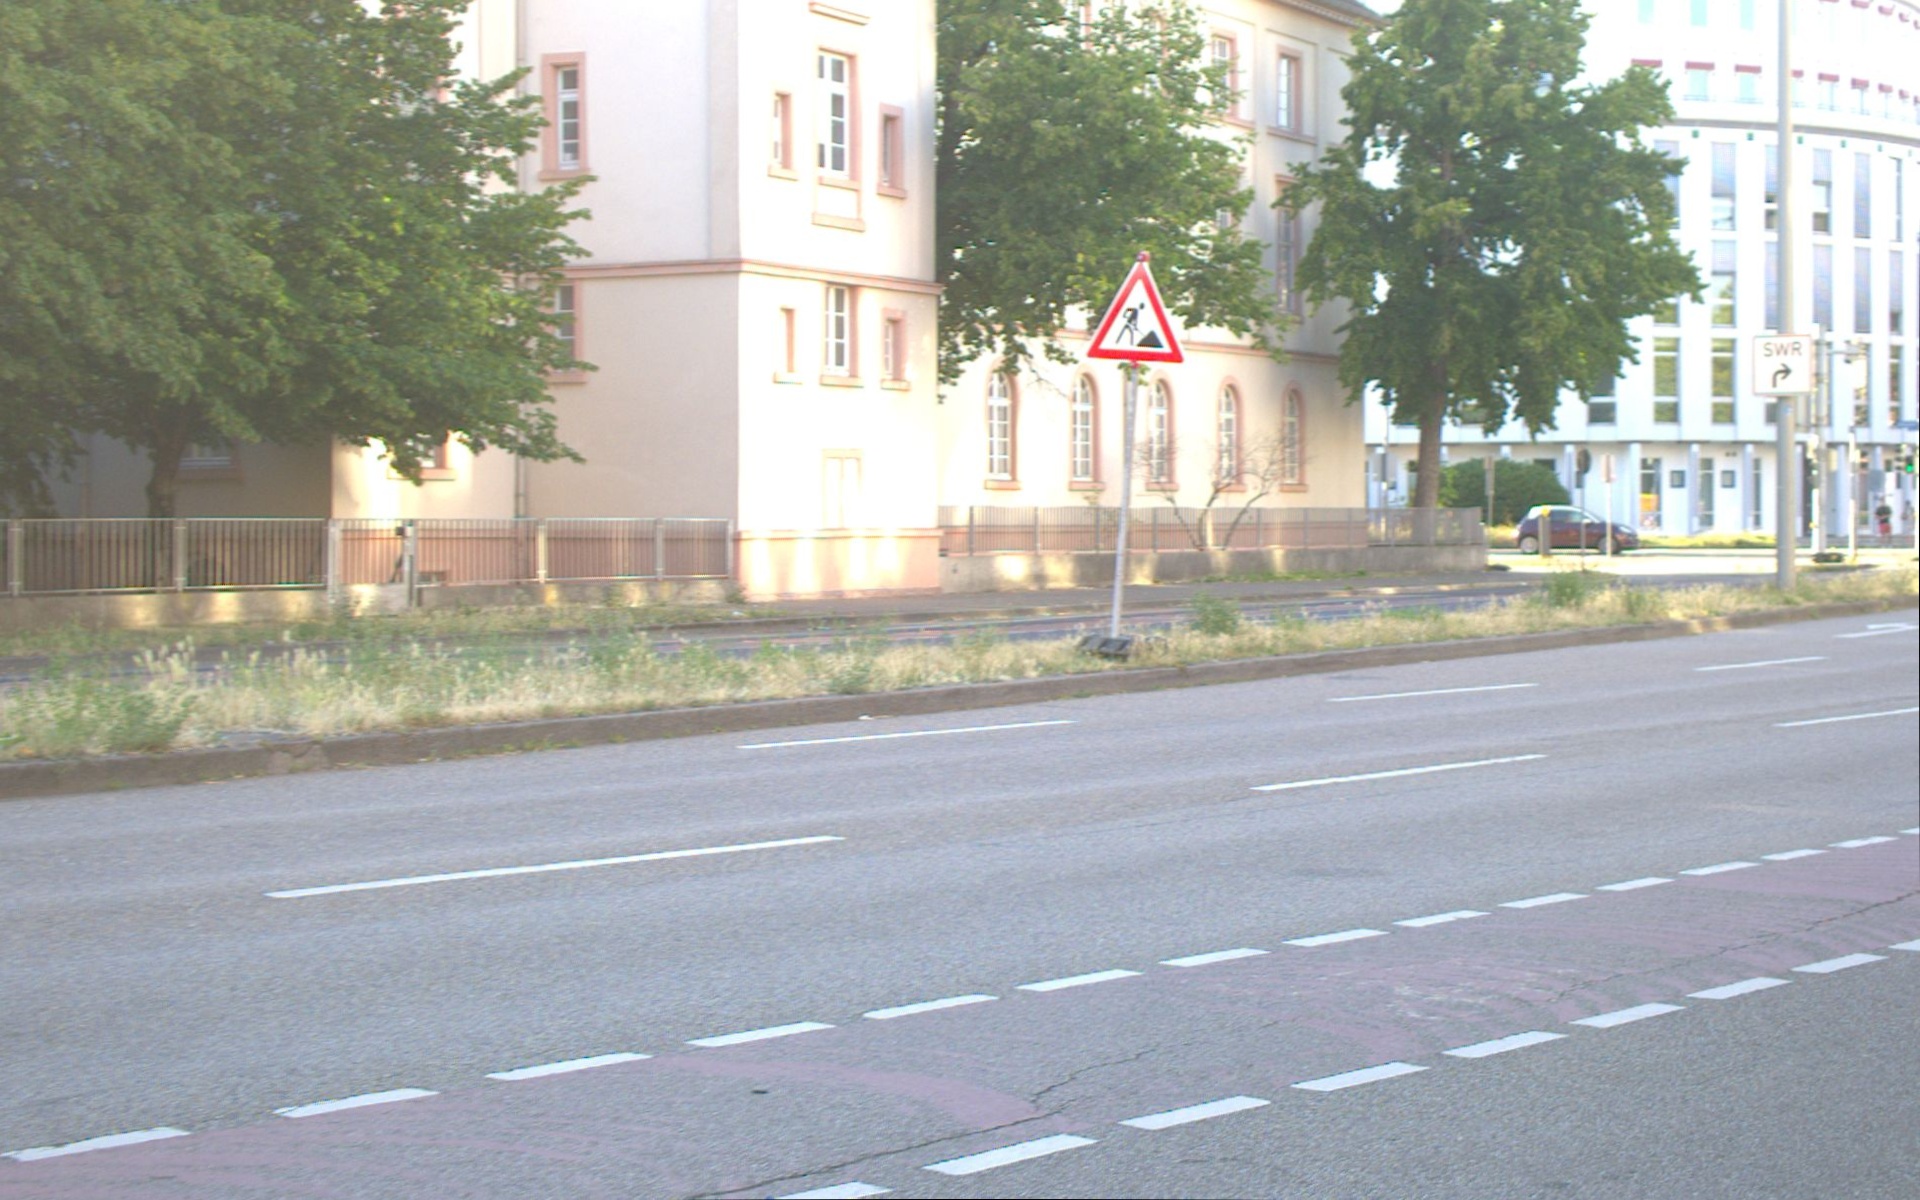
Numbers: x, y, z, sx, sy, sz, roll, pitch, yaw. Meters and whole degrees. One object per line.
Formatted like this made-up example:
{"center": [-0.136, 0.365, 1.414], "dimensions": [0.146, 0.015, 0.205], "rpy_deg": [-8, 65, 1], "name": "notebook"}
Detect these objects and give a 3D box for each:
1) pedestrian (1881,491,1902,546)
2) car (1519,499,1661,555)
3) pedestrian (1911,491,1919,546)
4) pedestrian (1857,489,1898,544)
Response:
{"center": [31.324, -2.750, 115.575], "dimensions": [0.660, 1.852, 0.778], "rpy_deg": [0, 1, 15], "name": "pedestrian"}
{"center": [18.778, -2.170, 102.488], "dimensions": [3.813, 1.525, 1.861], "rpy_deg": [-1, -1, 24], "name": "car"}
{"center": [32.265, -2.732, 115.162], "dimensions": [0.759, 1.836, 0.818], "rpy_deg": [0, 1, 17], "name": "pedestrian"}
{"center": [33.490, -3.038, 125.488], "dimensions": [1.094, 2.007, 1.033], "rpy_deg": [1, 2, 38], "name": "pedestrian"}
